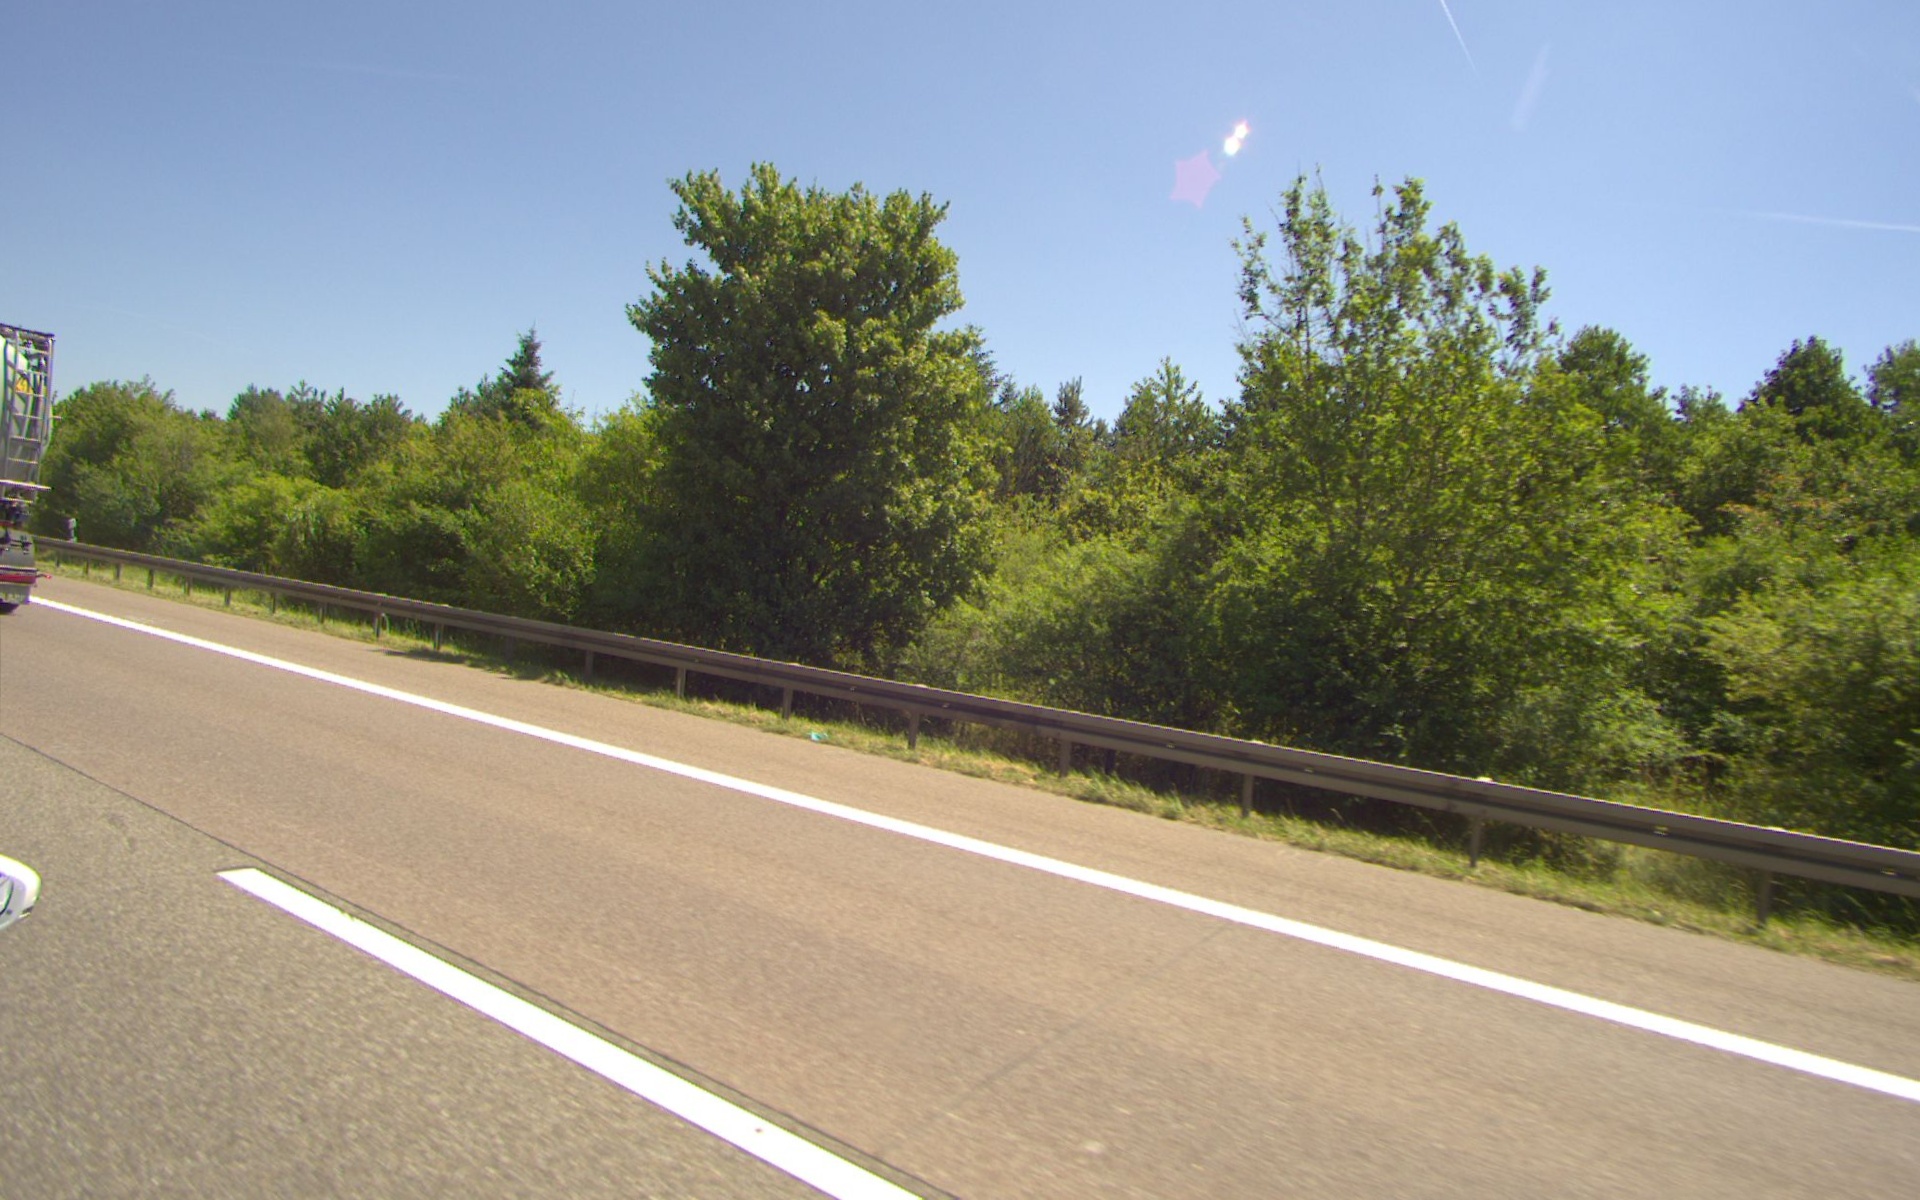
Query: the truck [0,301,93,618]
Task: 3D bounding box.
[{"bbox_3d":[-18.584,-2.523,16.263,13.134,4.093,2.804,6,-2,32],"label":"truck"}]
